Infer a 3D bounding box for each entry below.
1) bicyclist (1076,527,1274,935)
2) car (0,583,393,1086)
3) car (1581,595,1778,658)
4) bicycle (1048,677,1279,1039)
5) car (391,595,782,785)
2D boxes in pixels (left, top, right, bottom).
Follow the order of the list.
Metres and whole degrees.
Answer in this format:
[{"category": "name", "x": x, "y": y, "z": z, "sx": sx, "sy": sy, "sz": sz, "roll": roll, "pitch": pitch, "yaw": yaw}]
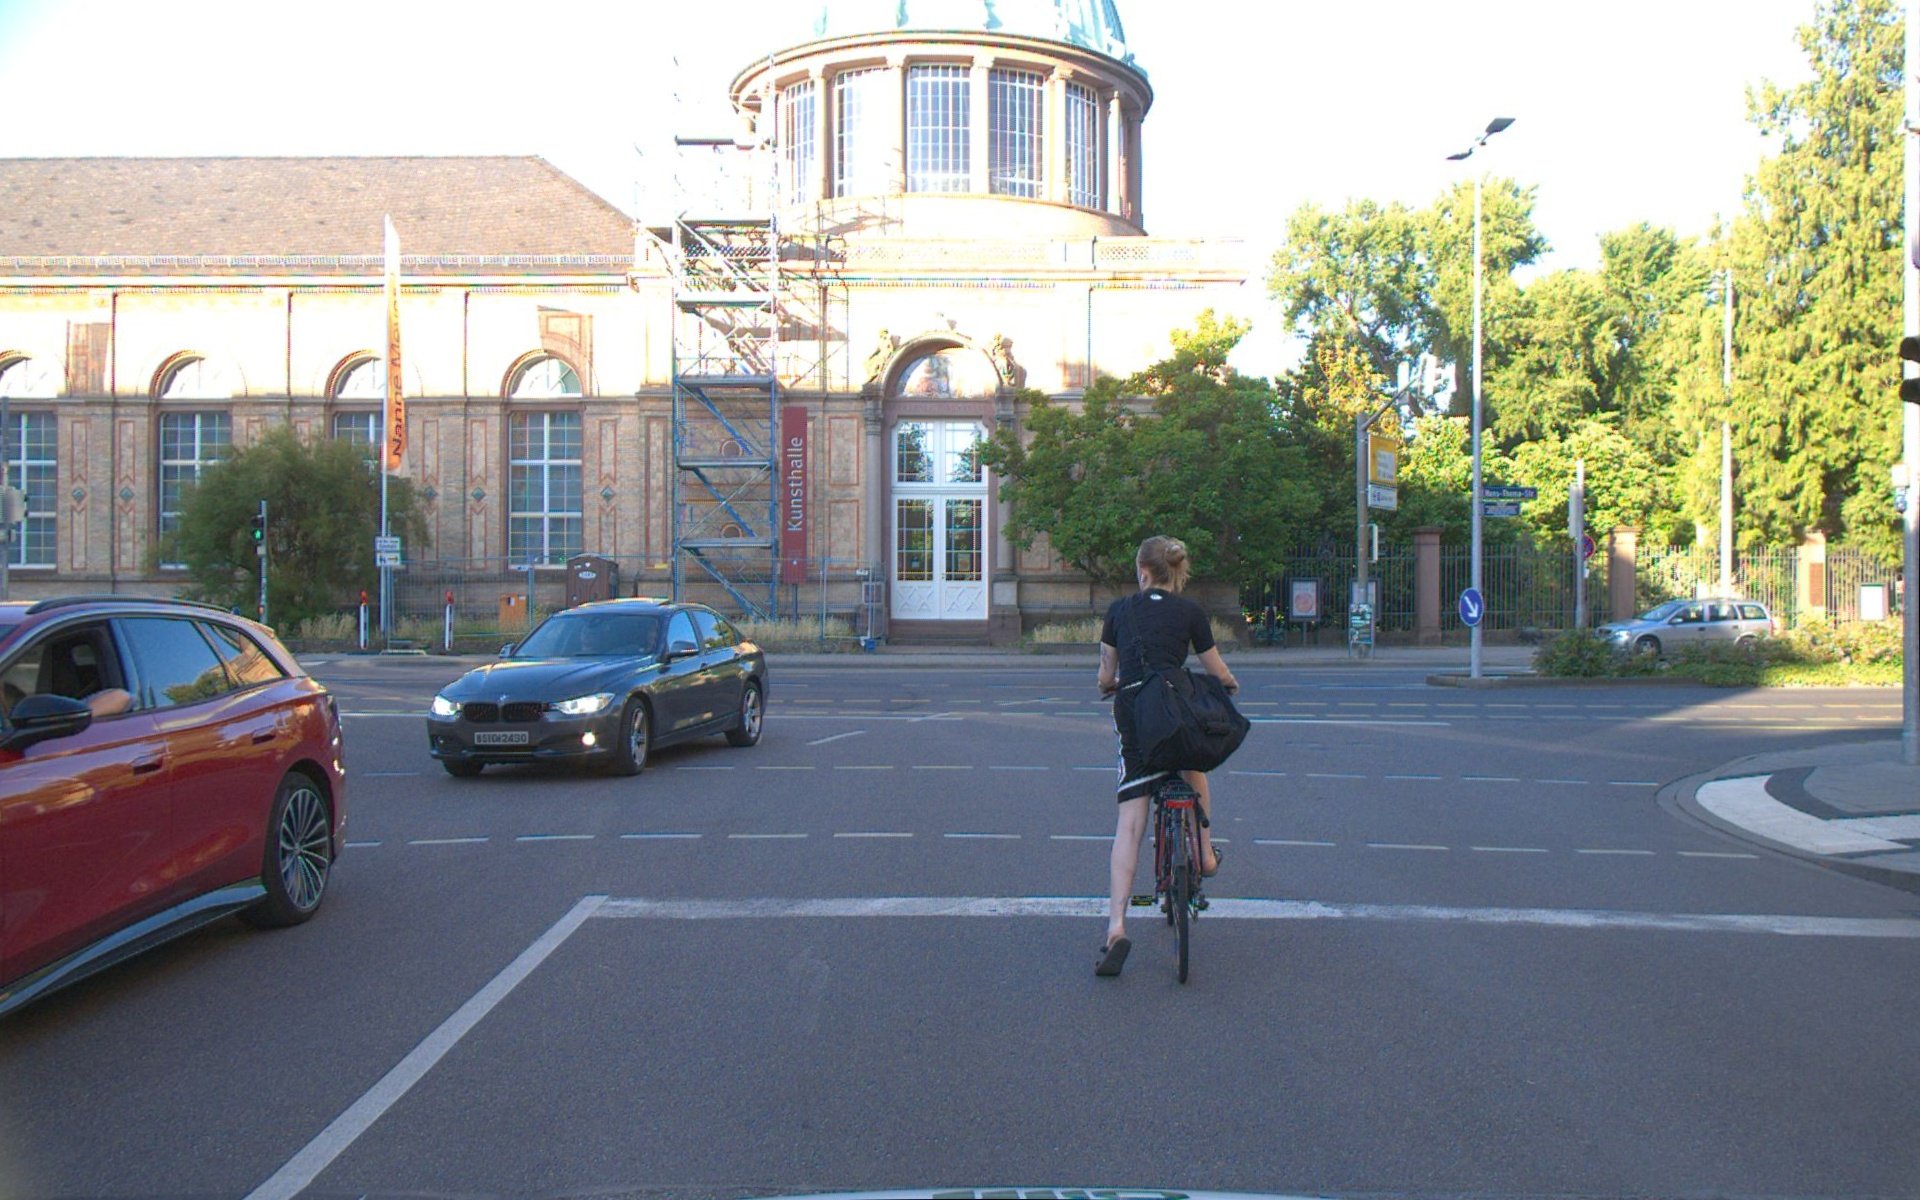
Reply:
[{"category": "bicyclist", "x": 0.891, "y": 0.503, "z": 6.712, "sx": 0.701, "sy": 1.529, "sz": 0.851, "roll": -1, "pitch": -2, "yaw": 13}, {"category": "car", "x": -3.911, "y": 0.740, "z": 6.302, "sx": 1.793, "sy": 1.572, "sz": 4.847, "roll": -1, "pitch": 1, "yaw": 0}, {"category": "car", "x": 17.487, "y": 0.621, "z": 40.271, "sx": 4.104, "sy": 1.470, "sz": 1.713, "roll": 0, "pitch": 0, "yaw": -6}, {"category": "bicycle", "x": 0.885, "y": 0.922, "z": 6.683, "sx": 0.696, "sy": 1.176, "sz": 2.070, "roll": -1, "pitch": -2, "yaw": 13}, {"category": "car", "x": -3.235, "y": 0.720, "z": 15.329, "sx": 1.744, "sy": 1.485, "sz": 4.427, "roll": -1, "pitch": 0, "yaw": 13}]
